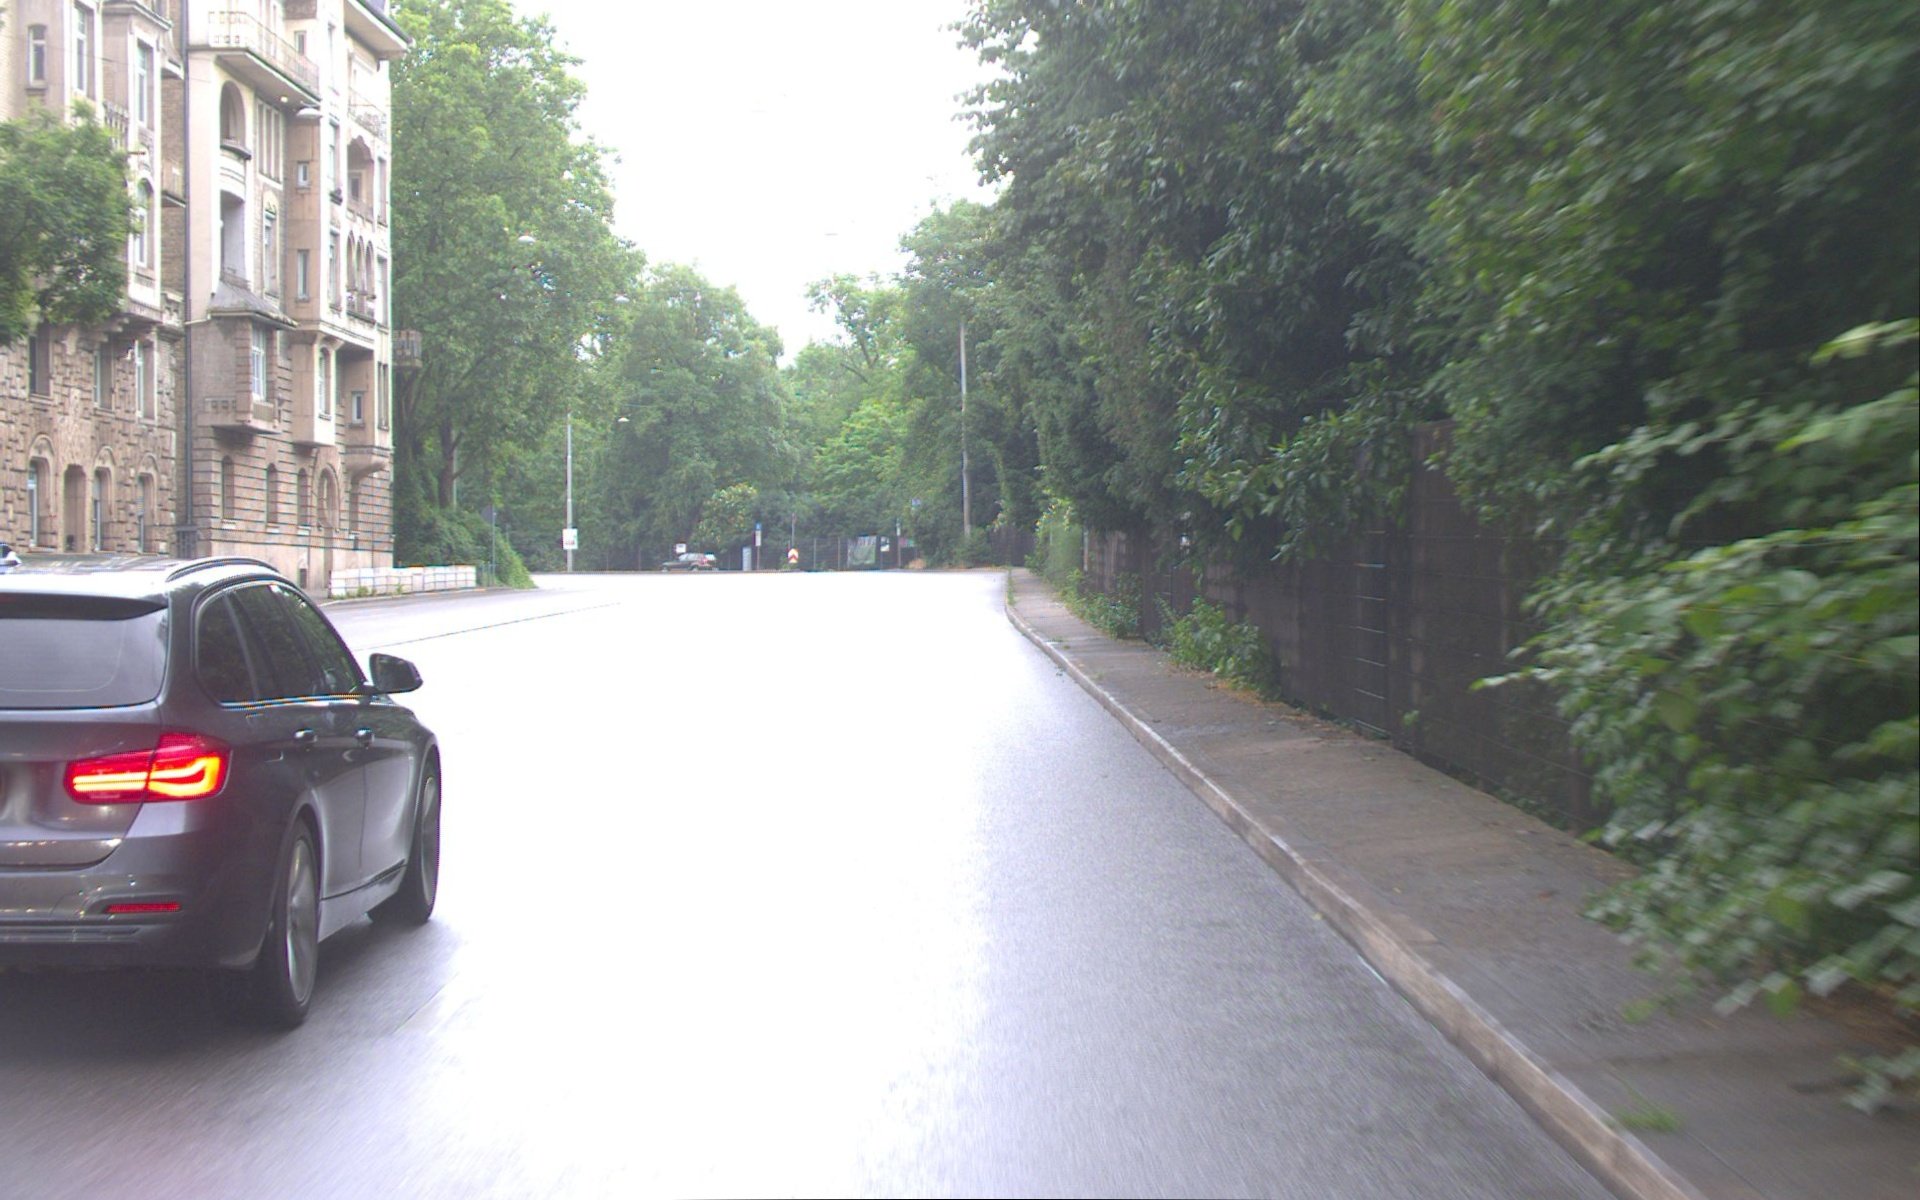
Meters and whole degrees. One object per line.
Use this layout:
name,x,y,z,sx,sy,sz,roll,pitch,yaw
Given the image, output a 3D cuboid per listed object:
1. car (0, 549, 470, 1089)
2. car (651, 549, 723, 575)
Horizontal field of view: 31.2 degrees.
car,-2.842,0.563,11.560,1.757,1.427,4.413,2,1,0
car,-15.833,-2.182,199.308,4.368,1.422,1.688,1,-2,44
